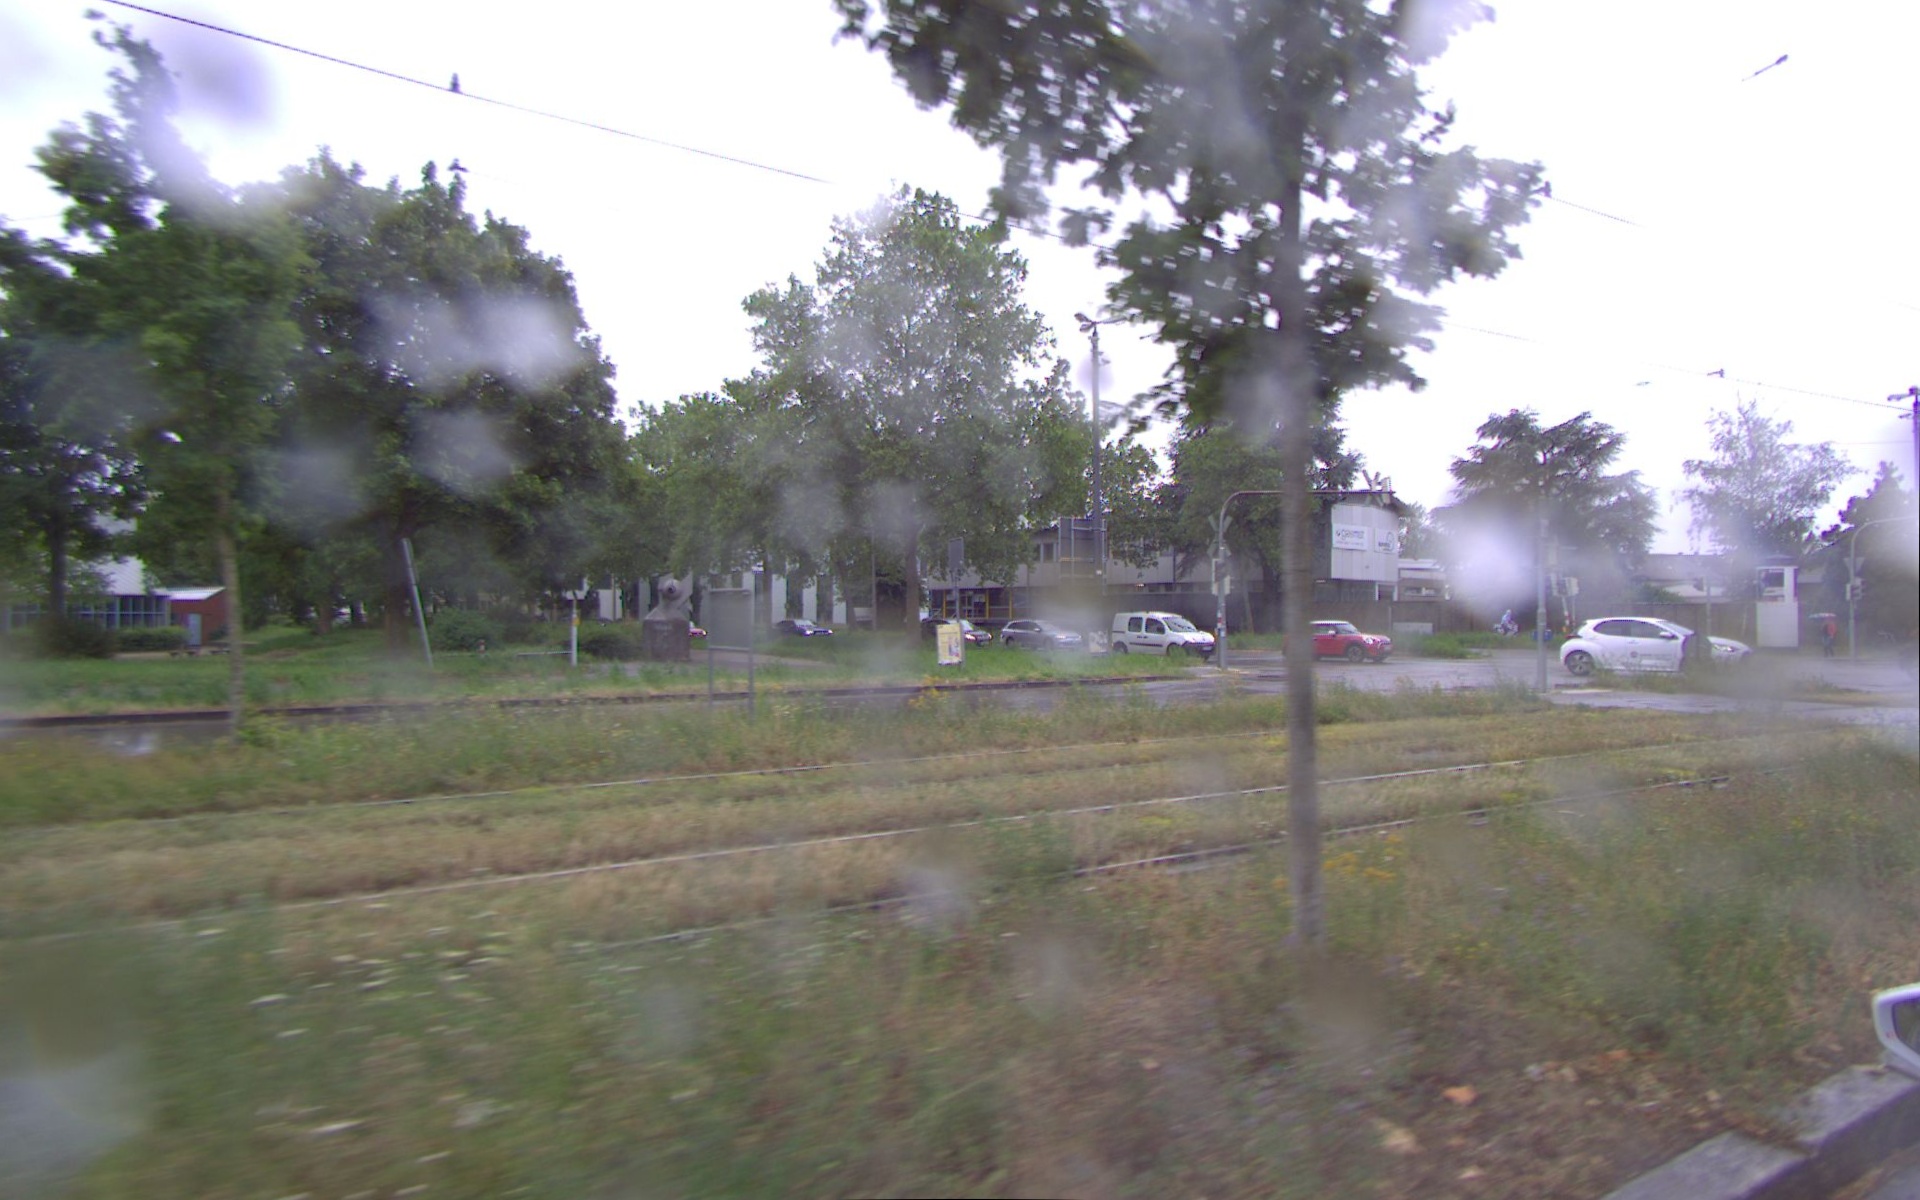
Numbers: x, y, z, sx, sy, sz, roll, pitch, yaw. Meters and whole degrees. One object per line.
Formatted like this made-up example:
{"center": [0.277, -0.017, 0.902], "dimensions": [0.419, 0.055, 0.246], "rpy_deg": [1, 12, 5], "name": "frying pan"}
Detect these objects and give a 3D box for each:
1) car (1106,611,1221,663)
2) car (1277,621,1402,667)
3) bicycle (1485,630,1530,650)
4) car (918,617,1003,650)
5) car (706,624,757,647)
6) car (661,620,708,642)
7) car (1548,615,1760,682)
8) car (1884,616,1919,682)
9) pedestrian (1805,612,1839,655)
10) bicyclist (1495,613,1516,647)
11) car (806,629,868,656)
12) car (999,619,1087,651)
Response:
{"center": [7.551, 1.325, 37.594], "dimensions": [1.637, 1.820, 4.177], "rpy_deg": [0, 0, -38], "name": "car"}
{"center": [13.461, 1.534, 35.786], "dimensions": [1.640, 1.519, 3.870], "rpy_deg": [0, -1, -43], "name": "car"}
{"center": [27.444, 1.982, 50.384], "dimensions": [0.635, 0.979, 1.948], "rpy_deg": [1, -2, -32], "name": "bicycle"}
{"center": [-0.032, 1.578, 47.310], "dimensions": [1.638, 1.475, 4.320], "rpy_deg": [2, -2, -39], "name": "car"}
{"center": [-14.529, 2.225, 63.812], "dimensions": [1.638, 1.413, 3.786], "rpy_deg": [2, -2, -39], "name": "car"}
{"center": [-18.340, 2.072, 66.759], "dimensions": [1.638, 1.413, 3.786], "rpy_deg": [2, -2, -39], "name": "car"}
{"center": [17.116, 1.168, 24.965], "dimensions": [1.636, 1.518, 4.038], "rpy_deg": [1, -2, -36], "name": "car"}
{"center": [23.349, 1.113, 22.395], "dimensions": [1.635, 1.518, 3.793], "rpy_deg": [1, -2, -35], "name": "car"}
{"center": [36.791, 1.435, 42.897], "dimensions": [0.787, 1.787, 0.909], "rpy_deg": [0, -1, 17], "name": "pedestrian"}
{"center": [27.398, 1.496, 50.460], "dimensions": [0.635, 1.705, 0.680], "rpy_deg": [1, -2, -32], "name": "bicyclist"}
{"center": [-6.797, 2.309, 55.222], "dimensions": [1.638, 1.413, 3.786], "rpy_deg": [2, -2, -39], "name": "car"}
{"center": [3.885, 1.645, 47.546], "dimensions": [1.638, 1.475, 4.320], "rpy_deg": [2, -2, -39], "name": "car"}
